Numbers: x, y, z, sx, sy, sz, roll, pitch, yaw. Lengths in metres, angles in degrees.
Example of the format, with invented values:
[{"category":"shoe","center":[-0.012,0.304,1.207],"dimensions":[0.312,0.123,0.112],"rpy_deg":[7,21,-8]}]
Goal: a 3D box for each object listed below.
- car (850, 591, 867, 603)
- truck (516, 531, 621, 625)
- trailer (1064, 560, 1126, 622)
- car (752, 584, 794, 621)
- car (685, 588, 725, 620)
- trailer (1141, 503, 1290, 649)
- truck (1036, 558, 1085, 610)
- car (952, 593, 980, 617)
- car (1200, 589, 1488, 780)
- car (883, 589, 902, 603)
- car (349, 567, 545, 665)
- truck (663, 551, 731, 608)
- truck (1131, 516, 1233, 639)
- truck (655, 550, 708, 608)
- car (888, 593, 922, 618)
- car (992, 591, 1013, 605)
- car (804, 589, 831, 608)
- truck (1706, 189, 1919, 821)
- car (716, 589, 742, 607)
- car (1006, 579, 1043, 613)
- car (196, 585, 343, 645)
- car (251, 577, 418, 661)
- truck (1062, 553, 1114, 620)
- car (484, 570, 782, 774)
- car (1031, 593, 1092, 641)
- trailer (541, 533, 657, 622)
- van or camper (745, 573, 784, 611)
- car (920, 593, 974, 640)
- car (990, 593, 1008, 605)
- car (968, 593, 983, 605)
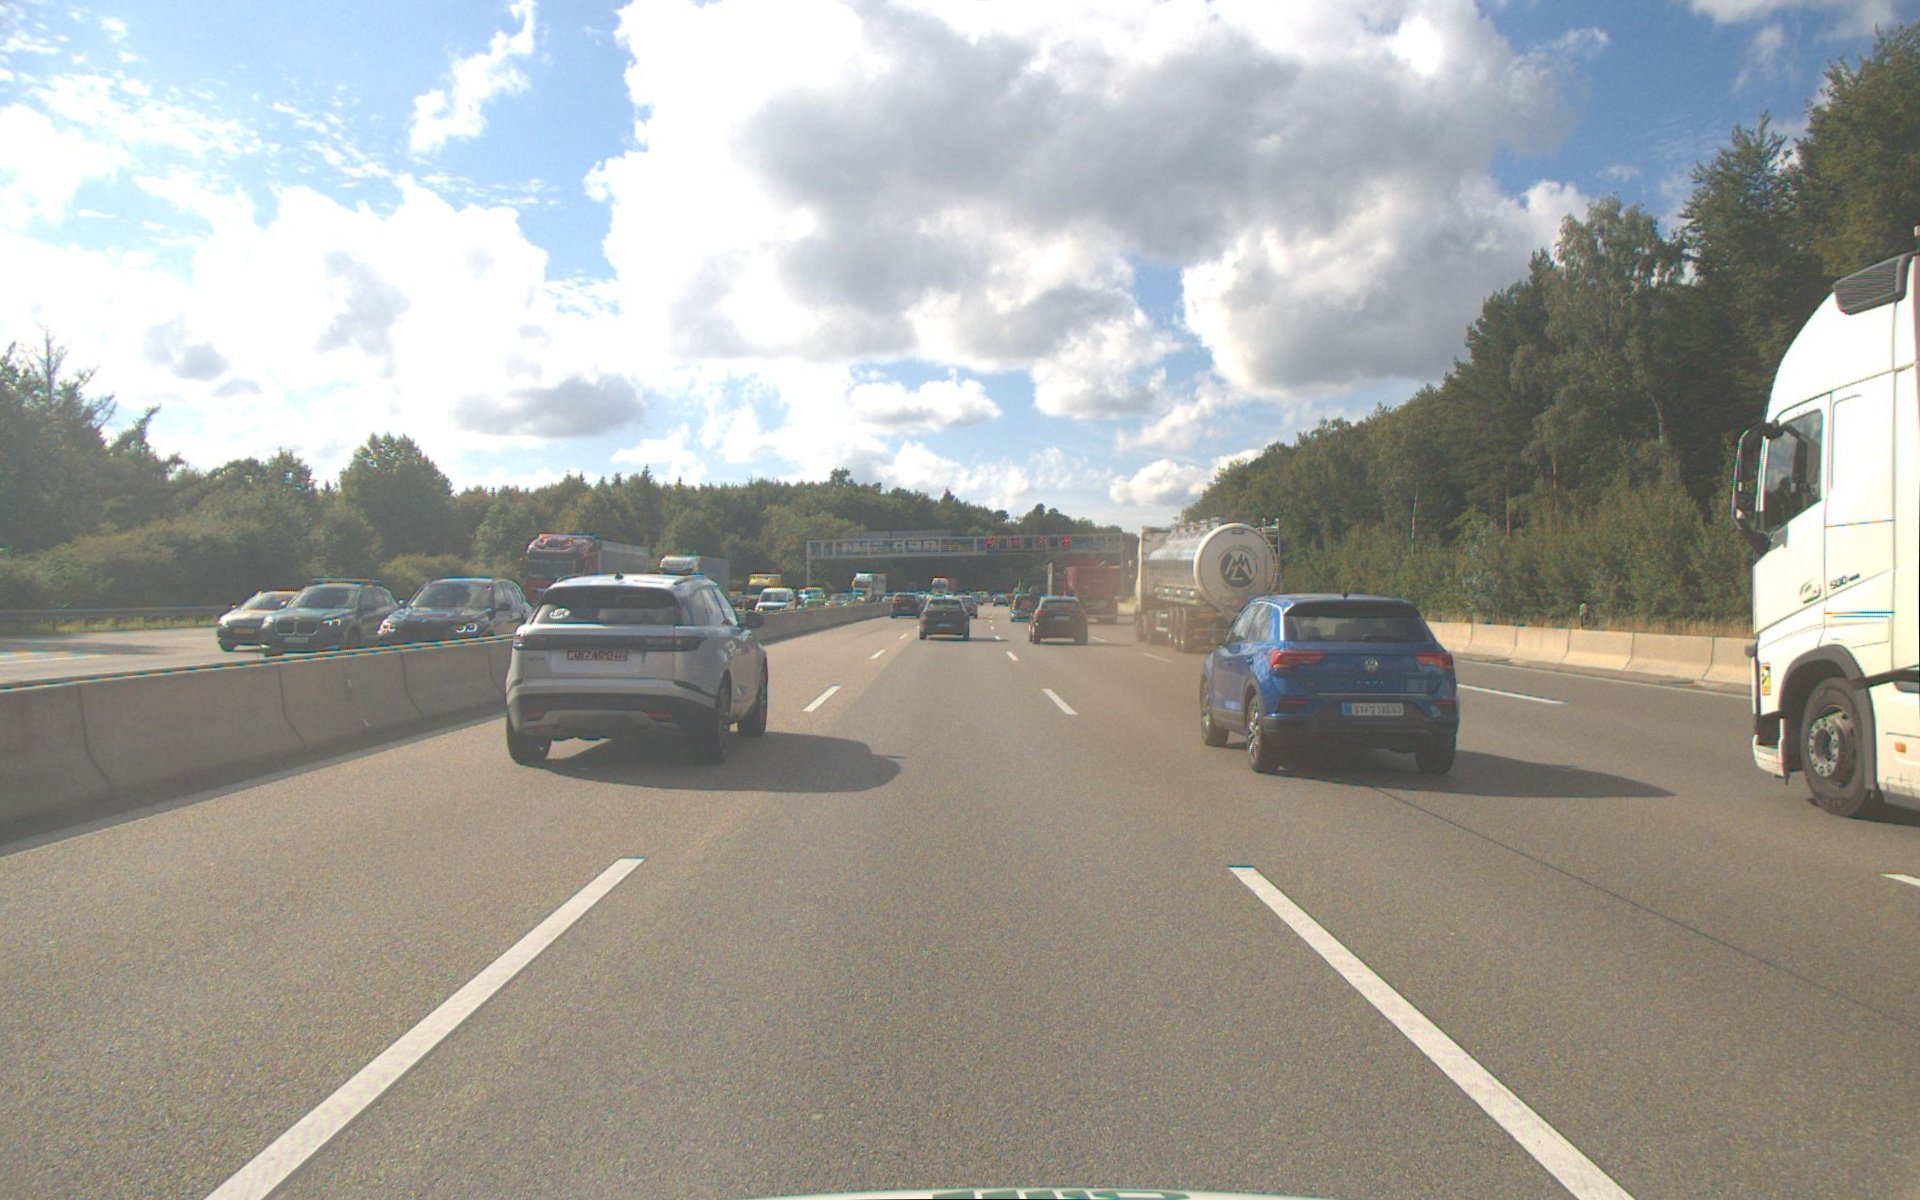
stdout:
[{"category":"car","center":[-12.063,-0.395,196.388],"dimensions":[1.733,1.419,4.691],"rpy_deg":[0,0,0]},{"category":"truck","center":[-17.110,-0.952,72.722],"dimensions":[2.906,3.925,6.765],"rpy_deg":[0,0,1]},{"category":"trailer","center":[7.464,-0.555,92.536],"dimensions":[2.654,3.287,9.733],"rpy_deg":[1,1,0]},{"category":"car","center":[-10.011,0.098,88.835],"dimensions":[1.811,1.911,4.614],"rpy_deg":[-1,0,-2]},{"category":"car","center":[-16.424,0.247,106.876],"dimensions":[1.809,1.974,5.033],"rpy_deg":[0,0,0]},{"category":"trailer","center":[7.375,-0.659,49.446],"dimensions":[2.594,3.833,11.859],"rpy_deg":[0,0,0]},{"category":"truck","center":[7.988,-1.259,132.183],"dimensions":[3.055,4.003,10.408],"rpy_deg":[0,0,-1]},{"category":"car","center":[0.394,0.335,107.745],"dimensions":[1.785,1.483,4.000],"rpy_deg":[1,0,0]},{"category":"car","center":[3.463,0.675,15.748],"dimensions":[1.736,1.557,4.458],"rpy_deg":[0,0,0]},{"category":"car","center":[-7.653,-0.429,187.796],"dimensions":[1.824,1.579,4.662],"rpy_deg":[0,0,1]},{"category":"car","center":[-9.782,0.267,32.030],"dimensions":[2.110,1.729,5.350],"rpy_deg":[0,0,0]},{"category":"truck","center":[-20.282,-1.512,128.332],"dimensions":[2.761,4.166,13.847],"rpy_deg":[0,0,1]},{"category":"truck","center":[7.341,-0.736,55.410],"dimensions":[2.594,3.890,6.081],"rpy_deg":[0,0,0]},{"category":"truck","center":[-20.440,-1.544,121.684],"dimensions":[2.761,4.166,6.062],"rpy_deg":[0,0,1]},{"category":"car","center":[-3.452,0.354,104.594],"dimensions":[1.901,1.483,4.001],"rpy_deg":[-1,0,2]},{"category":"car","center":[4.470,-0.223,173.409],"dimensions":[1.903,1.483,3.998],"rpy_deg":[-1,0,-2]},{"category":"car","center":[-11.893,-0.129,138.416],"dimensions":[1.747,1.496,4.331],"rpy_deg":[0,0,1]},{"category":"truck","center":[7.609,-0.614,10.907],"dimensions":[2.717,4.116,5.772],"rpy_deg":[0,0,-1]},{"category":"car","center":[-20.150,-0.180,144.515],"dimensions":[1.661,1.496,4.023],"rpy_deg":[0,0,1]},{"category":"car","center":[3.741,-0.218,96.156],"dimensions":[1.855,1.889,4.099],"rpy_deg":[1,0,-2]},{"category":"car","center":[-17.533,0.353,42.247],"dimensions":[1.790,1.439,4.675],"rpy_deg":[0,0,0]},{"category":"car","center":[-13.524,0.375,36.070],"dimensions":[1.953,1.693,4.686],"rpy_deg":[0,0,-2]},{"category":"truck","center":[7.505,-0.799,97.455],"dimensions":[2.654,3.783,5.818],"rpy_deg":[1,1,1]},{"category":"car","center":[-2.961,0.576,16.185],"dimensions":[1.966,1.644,5.299],"rpy_deg":[1,0,-2]},{"category":"car","center":[3.258,0.536,53.680],"dimensions":[1.785,1.483,4.000],"rpy_deg":[0,0,1]},{"category":"trailer","center":[-17.005,-1.031,78.804],"dimensions":[2.906,3.925,11.282],"rpy_deg":[0,0,1]},{"category":"van or camper","center":[-15.735,-0.684,133.180],"dimensions":[2.325,2.942,6.506],"rpy_deg":[-1,0,0]},{"category":"car","center":[-0.434,0.544,57.160],"dimensions":[1.785,1.573,4.000],"rpy_deg":[0,0,0]},{"category":"car","center":[4.951,-0.141,211.893],"dimensions":[2.035,1.483,3.998],"rpy_deg":[-1,0,-2]},{"category":"car","center":[2.067,-0.143,221.182],"dimensions":[2.034,1.483,4.000],"rpy_deg":[-1,0,0]}]
